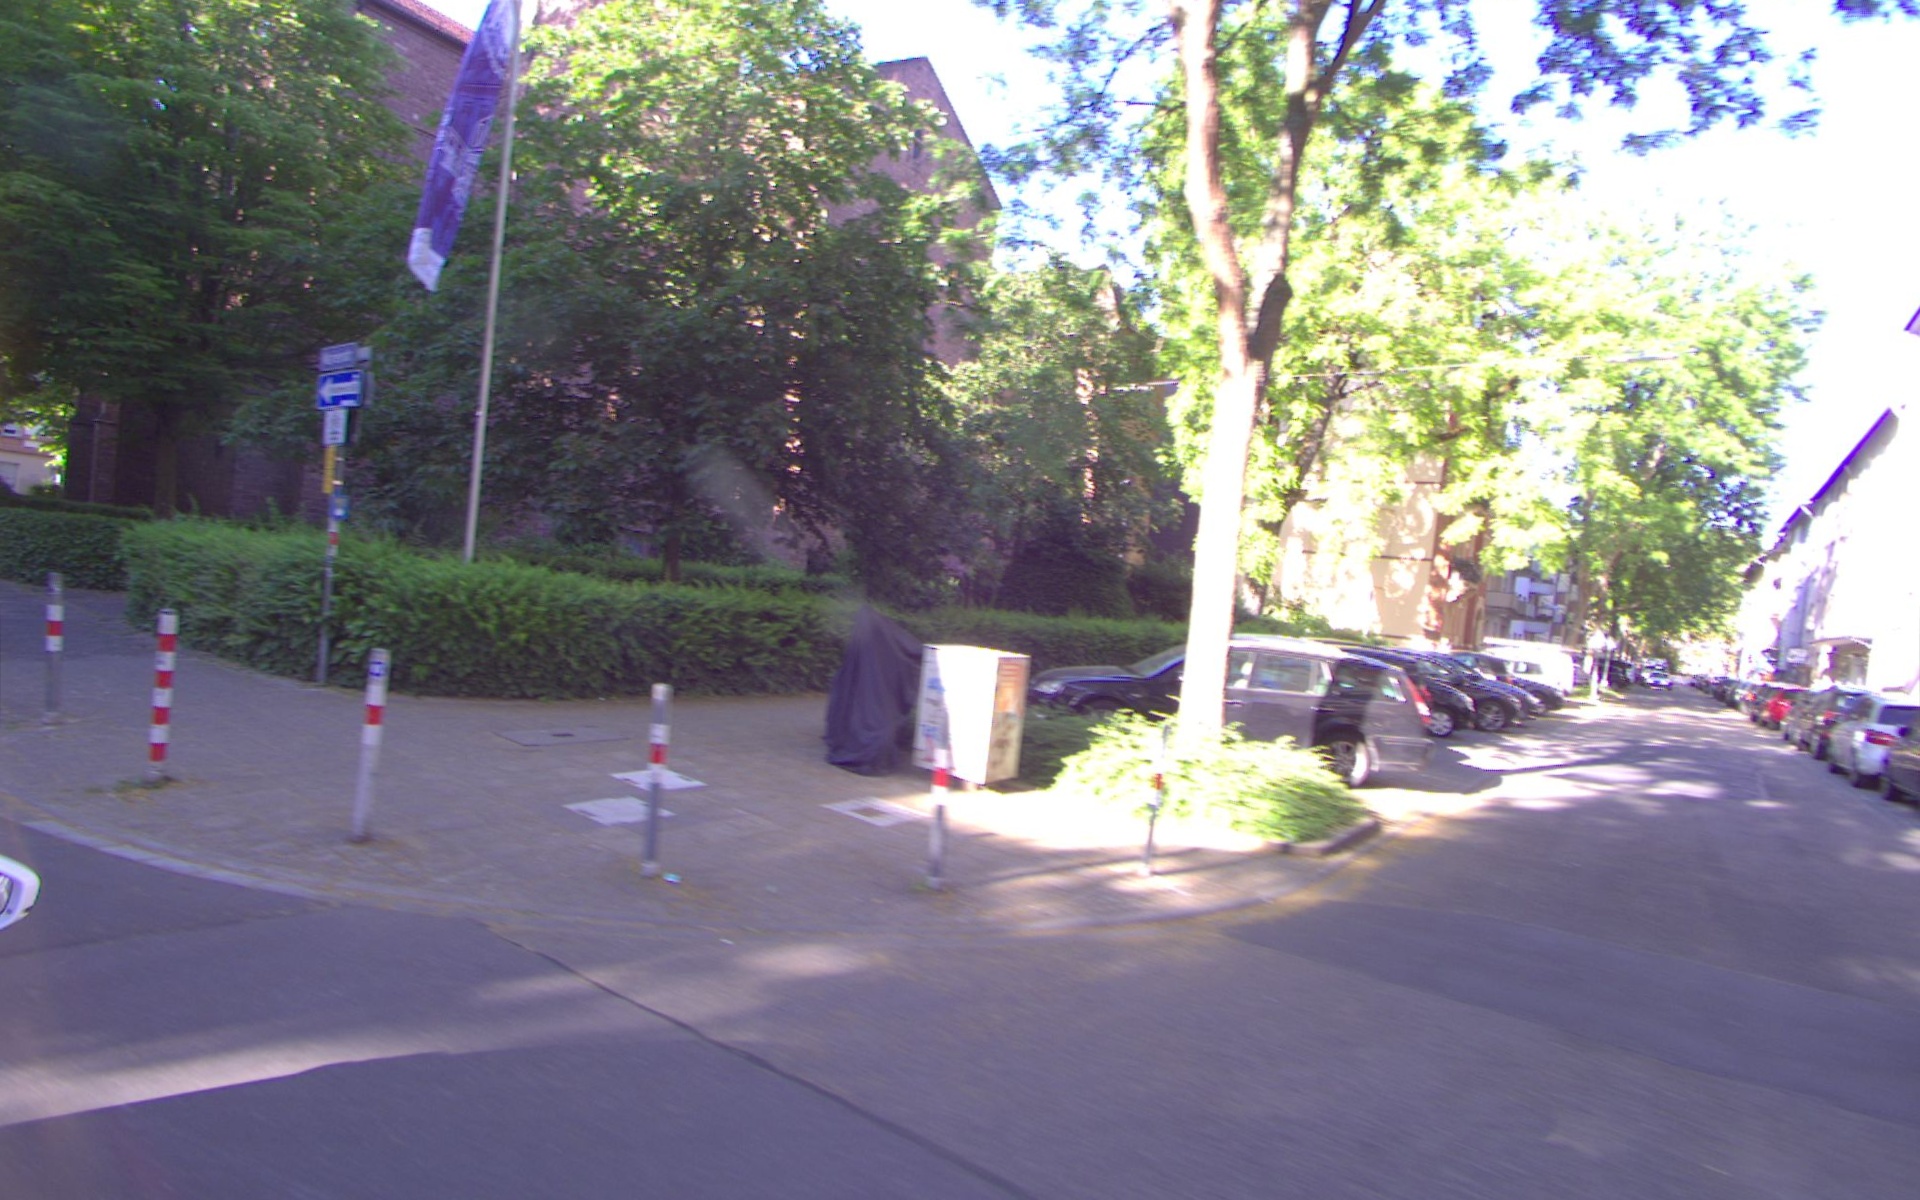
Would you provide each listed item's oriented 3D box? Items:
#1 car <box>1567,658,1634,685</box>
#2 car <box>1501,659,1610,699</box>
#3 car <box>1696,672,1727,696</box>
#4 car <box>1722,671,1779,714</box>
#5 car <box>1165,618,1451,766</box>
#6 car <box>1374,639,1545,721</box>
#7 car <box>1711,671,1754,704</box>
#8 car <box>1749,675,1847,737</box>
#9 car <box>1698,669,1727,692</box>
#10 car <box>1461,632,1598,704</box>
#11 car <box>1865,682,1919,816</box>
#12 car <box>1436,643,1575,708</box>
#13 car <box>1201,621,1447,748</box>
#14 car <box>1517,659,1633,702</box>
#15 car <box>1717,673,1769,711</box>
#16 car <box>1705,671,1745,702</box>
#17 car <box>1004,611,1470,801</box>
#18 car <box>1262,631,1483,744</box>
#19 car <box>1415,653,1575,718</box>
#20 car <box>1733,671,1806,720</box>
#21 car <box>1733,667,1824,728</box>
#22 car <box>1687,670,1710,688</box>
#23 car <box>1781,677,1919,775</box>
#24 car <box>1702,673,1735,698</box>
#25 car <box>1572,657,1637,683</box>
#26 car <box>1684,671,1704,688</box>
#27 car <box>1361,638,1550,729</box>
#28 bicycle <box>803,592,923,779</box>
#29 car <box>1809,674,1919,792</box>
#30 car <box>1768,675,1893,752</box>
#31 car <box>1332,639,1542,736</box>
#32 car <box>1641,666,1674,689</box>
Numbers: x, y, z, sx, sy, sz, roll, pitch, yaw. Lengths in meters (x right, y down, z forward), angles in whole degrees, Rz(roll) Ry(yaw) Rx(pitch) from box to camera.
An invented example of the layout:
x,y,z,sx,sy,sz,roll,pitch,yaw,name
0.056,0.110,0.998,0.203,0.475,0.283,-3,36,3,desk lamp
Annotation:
x,y,z,sx,sy,sz,roll,pitch,yaw,name
53.480,5.947,84.028,4.444,1.650,1.992,7,1,37,car
27.666,3.653,46.884,3.925,1.313,1.795,6,1,18,car
62.815,6.964,84.087,1.801,1.746,4.033,6,1,35,car
38.420,4.450,48.952,1.801,1.817,3.986,6,1,35,car
5.132,1.293,15.162,3.699,1.639,1.721,6,1,17,car
13.180,2.082,26.769,3.699,1.639,1.721,6,1,17,car
47.699,5.349,62.177,1.801,1.746,4.033,6,1,35,car
27.309,3.402,32.909,1.969,1.638,3.986,7,1,35,car
67.206,7.159,89.909,1.801,1.746,4.033,6,1,35,car
20.289,2.393,36.016,3.697,2.064,1.775,6,1,10,car
13.860,2.038,13.417,1.968,1.682,3.989,3,-1,33,car
18.122,2.493,33.592,3.699,1.639,1.585,6,1,17,car
6.236,1.393,17.554,3.699,1.639,1.721,6,1,17,car
27.159,3.515,44.544,3.925,1.313,1.795,6,1,18,car
41.549,4.850,53.453,1.801,1.746,4.033,6,1,35,car
50.371,5.666,66.295,1.801,1.746,4.033,6,1,35,car
3.103,1.188,12.123,5.006,1.572,1.803,6,1,3,car
7.918,1.629,19.665,3.699,1.639,1.721,6,1,17,car
15.195,2.409,28.761,3.699,1.298,1.585,6,1,17,car
33.307,3.891,41.471,1.969,1.638,4.237,7,1,36,car
29.682,3.469,36.621,1.968,1.830,4.506,6,1,34,car
81.944,8.780,111.600,1.801,1.746,4.033,6,1,35,car
19.974,2.732,22.419,1.967,1.719,3.989,7,1,33,car
59.744,6.704,79.263,1.801,1.746,4.033,6,1,35,car
55.150,5.982,86.061,4.444,1.650,1.992,7,1,37,car
88.576,9.593,121.445,1.801,1.746,4.033,6,1,35,car
11.796,1.949,24.227,3.699,1.639,1.721,6,1,17,car
-0.938,0.685,9.115,0.764,1.389,2.119,5,1,-11,bicycle
16.365,2.275,17.347,1.967,1.749,3.989,7,0,33,car
23.074,2.947,26.820,1.969,1.638,3.986,7,1,35,car
10.240,1.835,21.863,3.698,1.540,1.722,6,1,12,car
59.077,6.559,85.229,1.970,1.650,4.495,7,1,37,car
